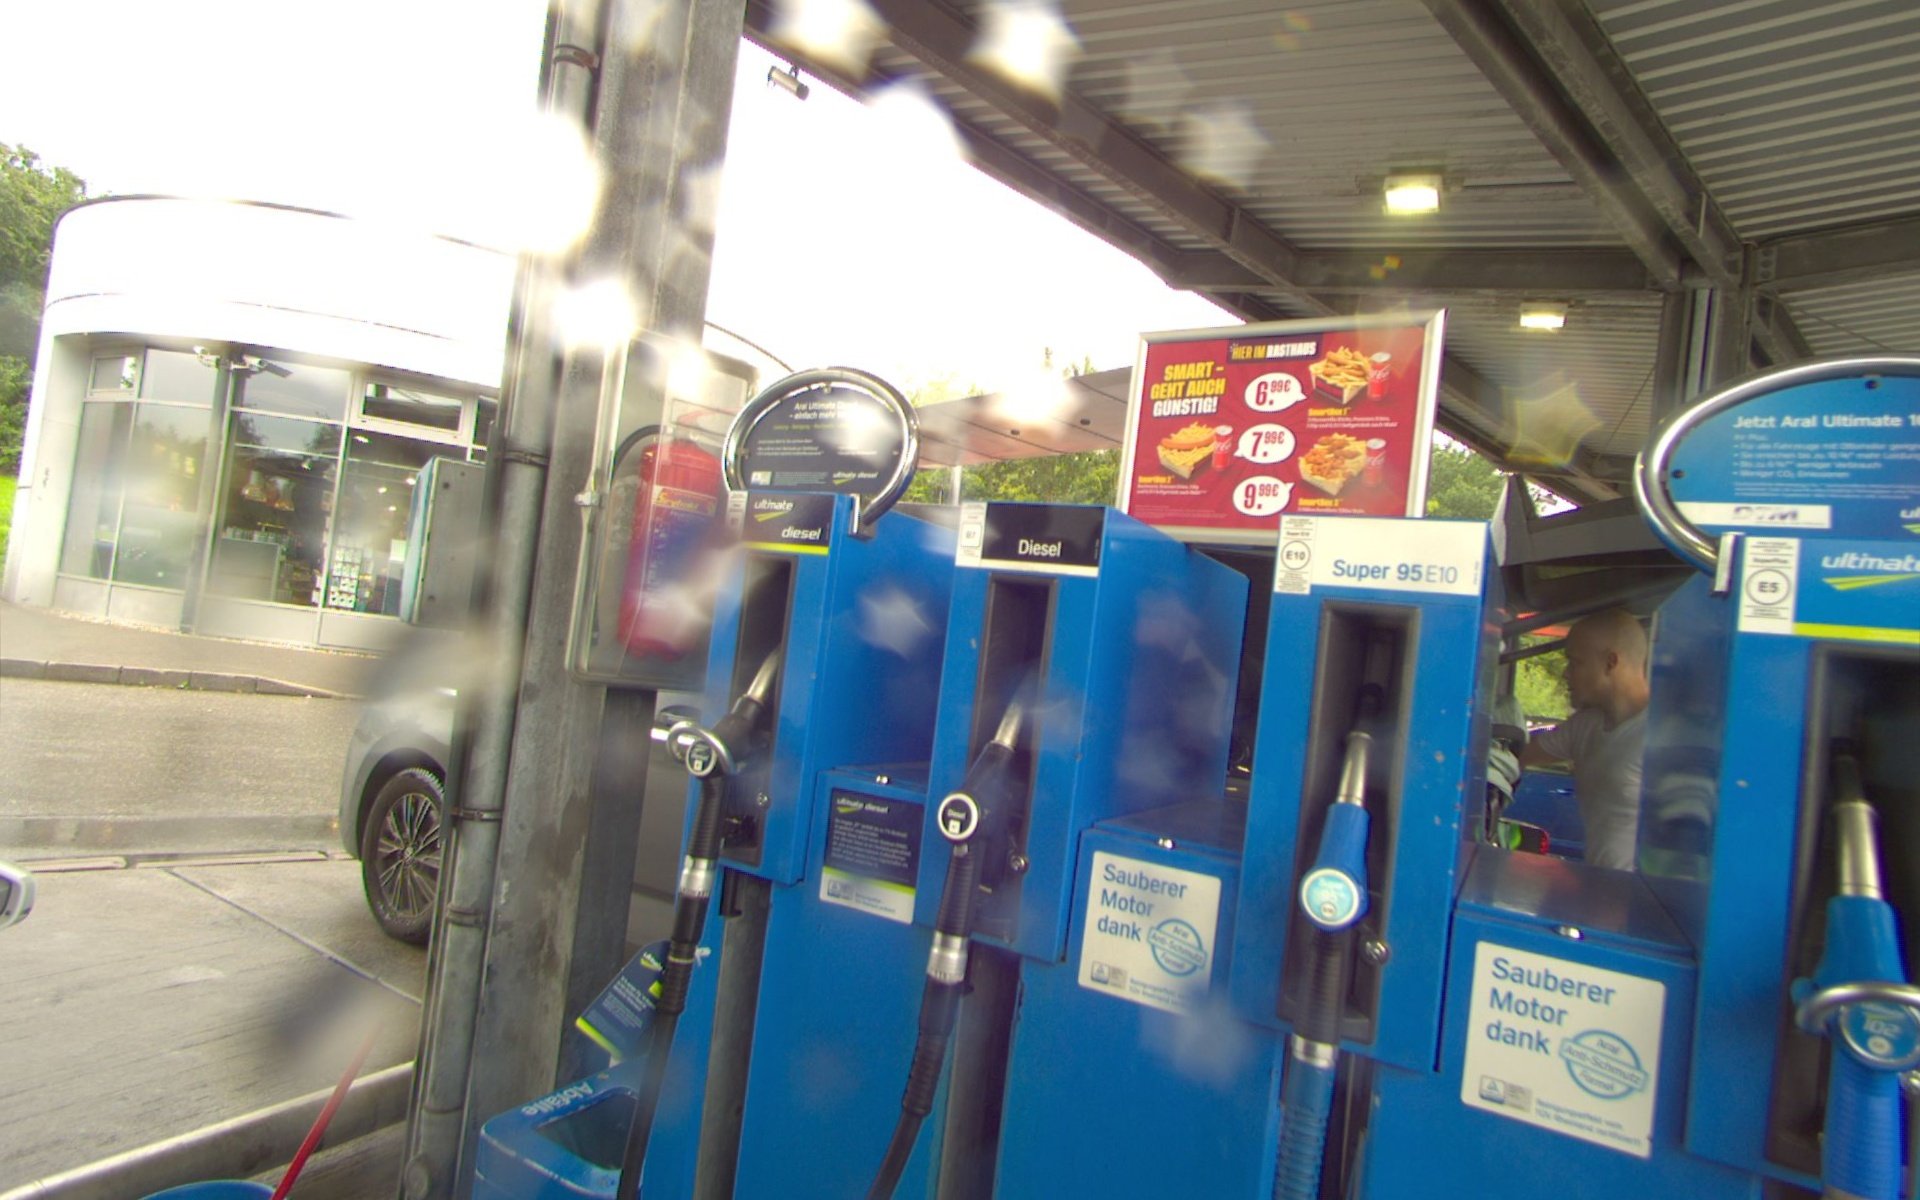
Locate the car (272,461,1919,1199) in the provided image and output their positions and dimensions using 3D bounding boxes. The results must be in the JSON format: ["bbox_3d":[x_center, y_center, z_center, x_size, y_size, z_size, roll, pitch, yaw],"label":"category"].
[{"bbox_3d":[-0.155,0.645,3.677,5.055,1.819,1.865,6,-2,32],"label":"car"}]
